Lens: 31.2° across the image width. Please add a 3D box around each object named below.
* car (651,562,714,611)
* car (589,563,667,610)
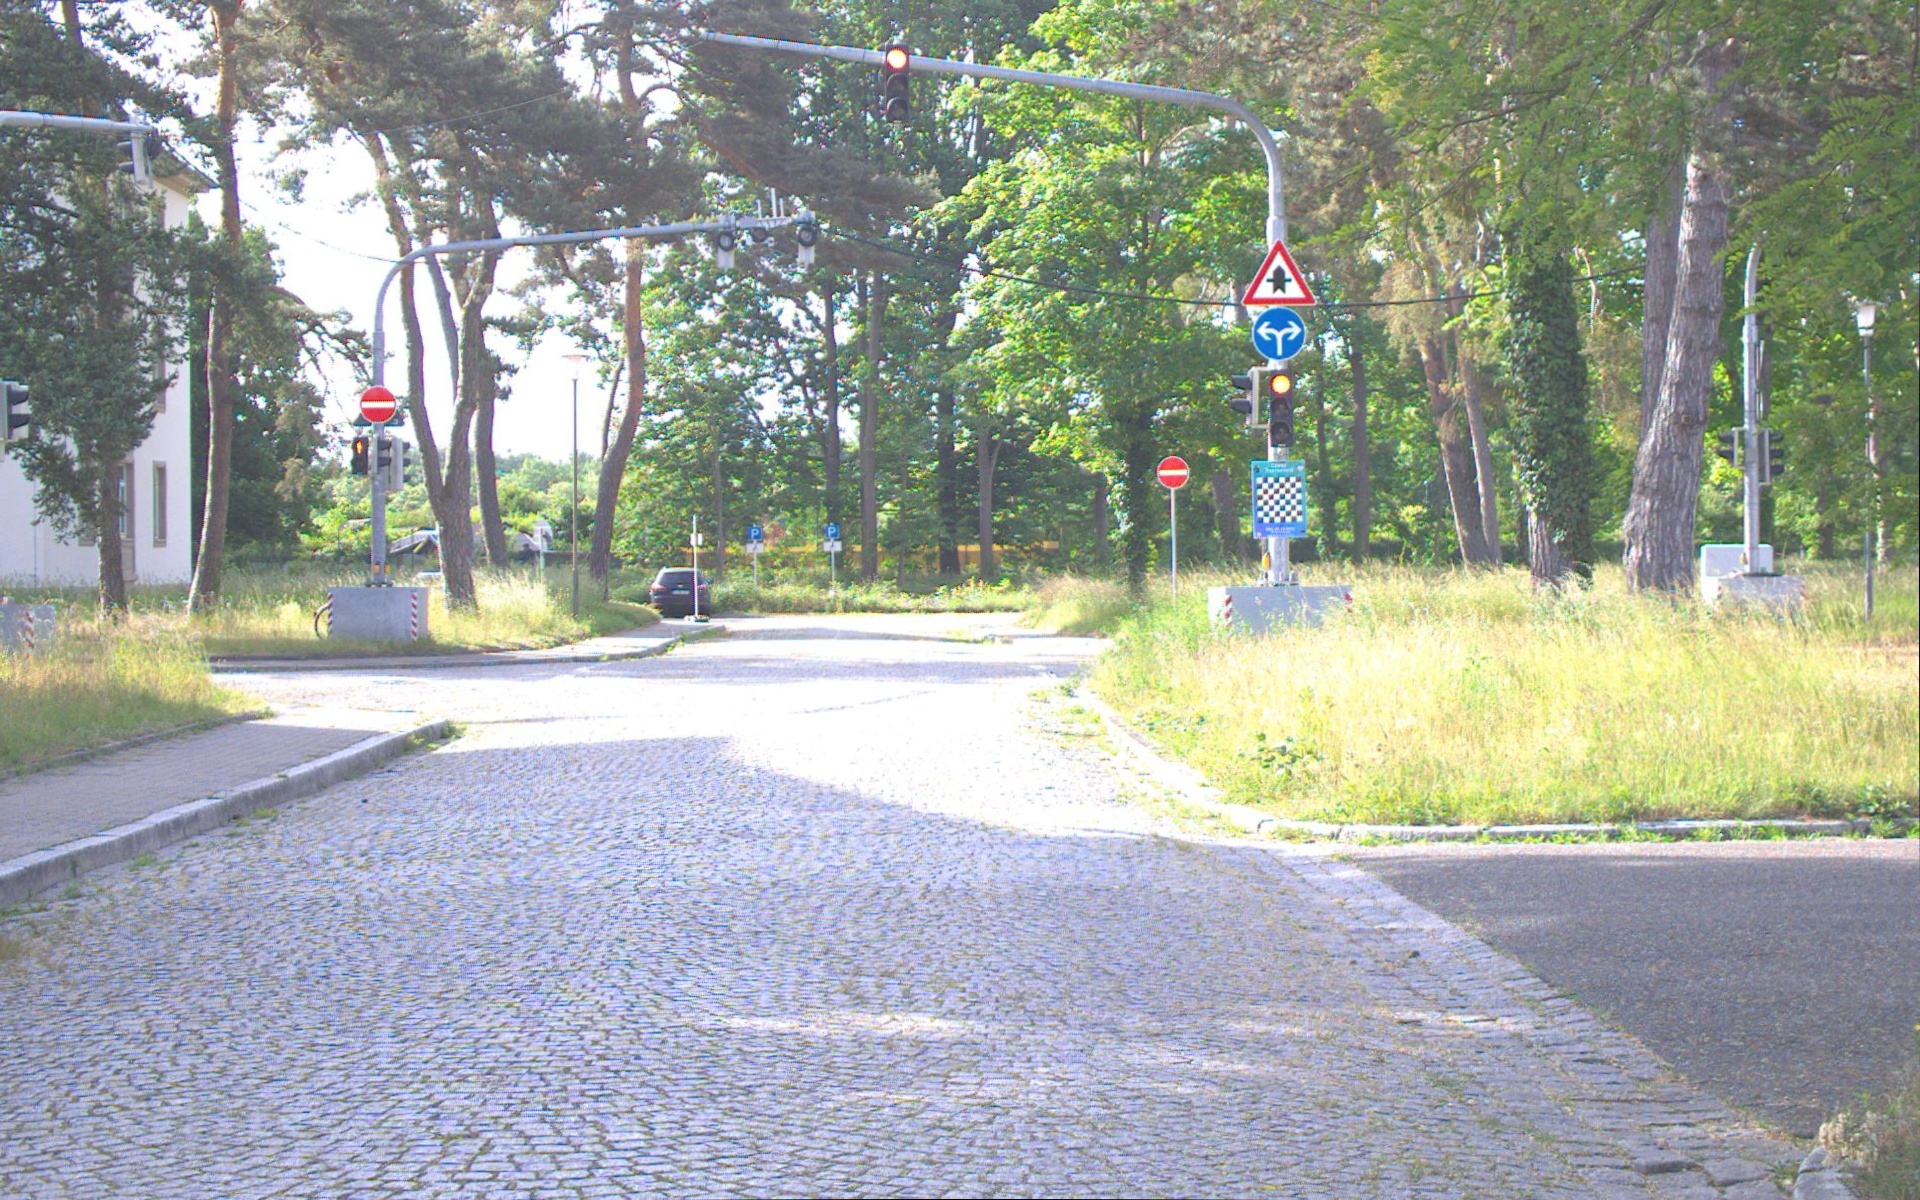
[{"bbox_3d":[-8.531,-0.429,105.948,1.844,1.481,4.001,0,1,-4],"label":"car"},{"bbox_3d":[-10.662,-0.451,110.689,1.783,1.485,3.754,0,1,6],"label":"car"}]
